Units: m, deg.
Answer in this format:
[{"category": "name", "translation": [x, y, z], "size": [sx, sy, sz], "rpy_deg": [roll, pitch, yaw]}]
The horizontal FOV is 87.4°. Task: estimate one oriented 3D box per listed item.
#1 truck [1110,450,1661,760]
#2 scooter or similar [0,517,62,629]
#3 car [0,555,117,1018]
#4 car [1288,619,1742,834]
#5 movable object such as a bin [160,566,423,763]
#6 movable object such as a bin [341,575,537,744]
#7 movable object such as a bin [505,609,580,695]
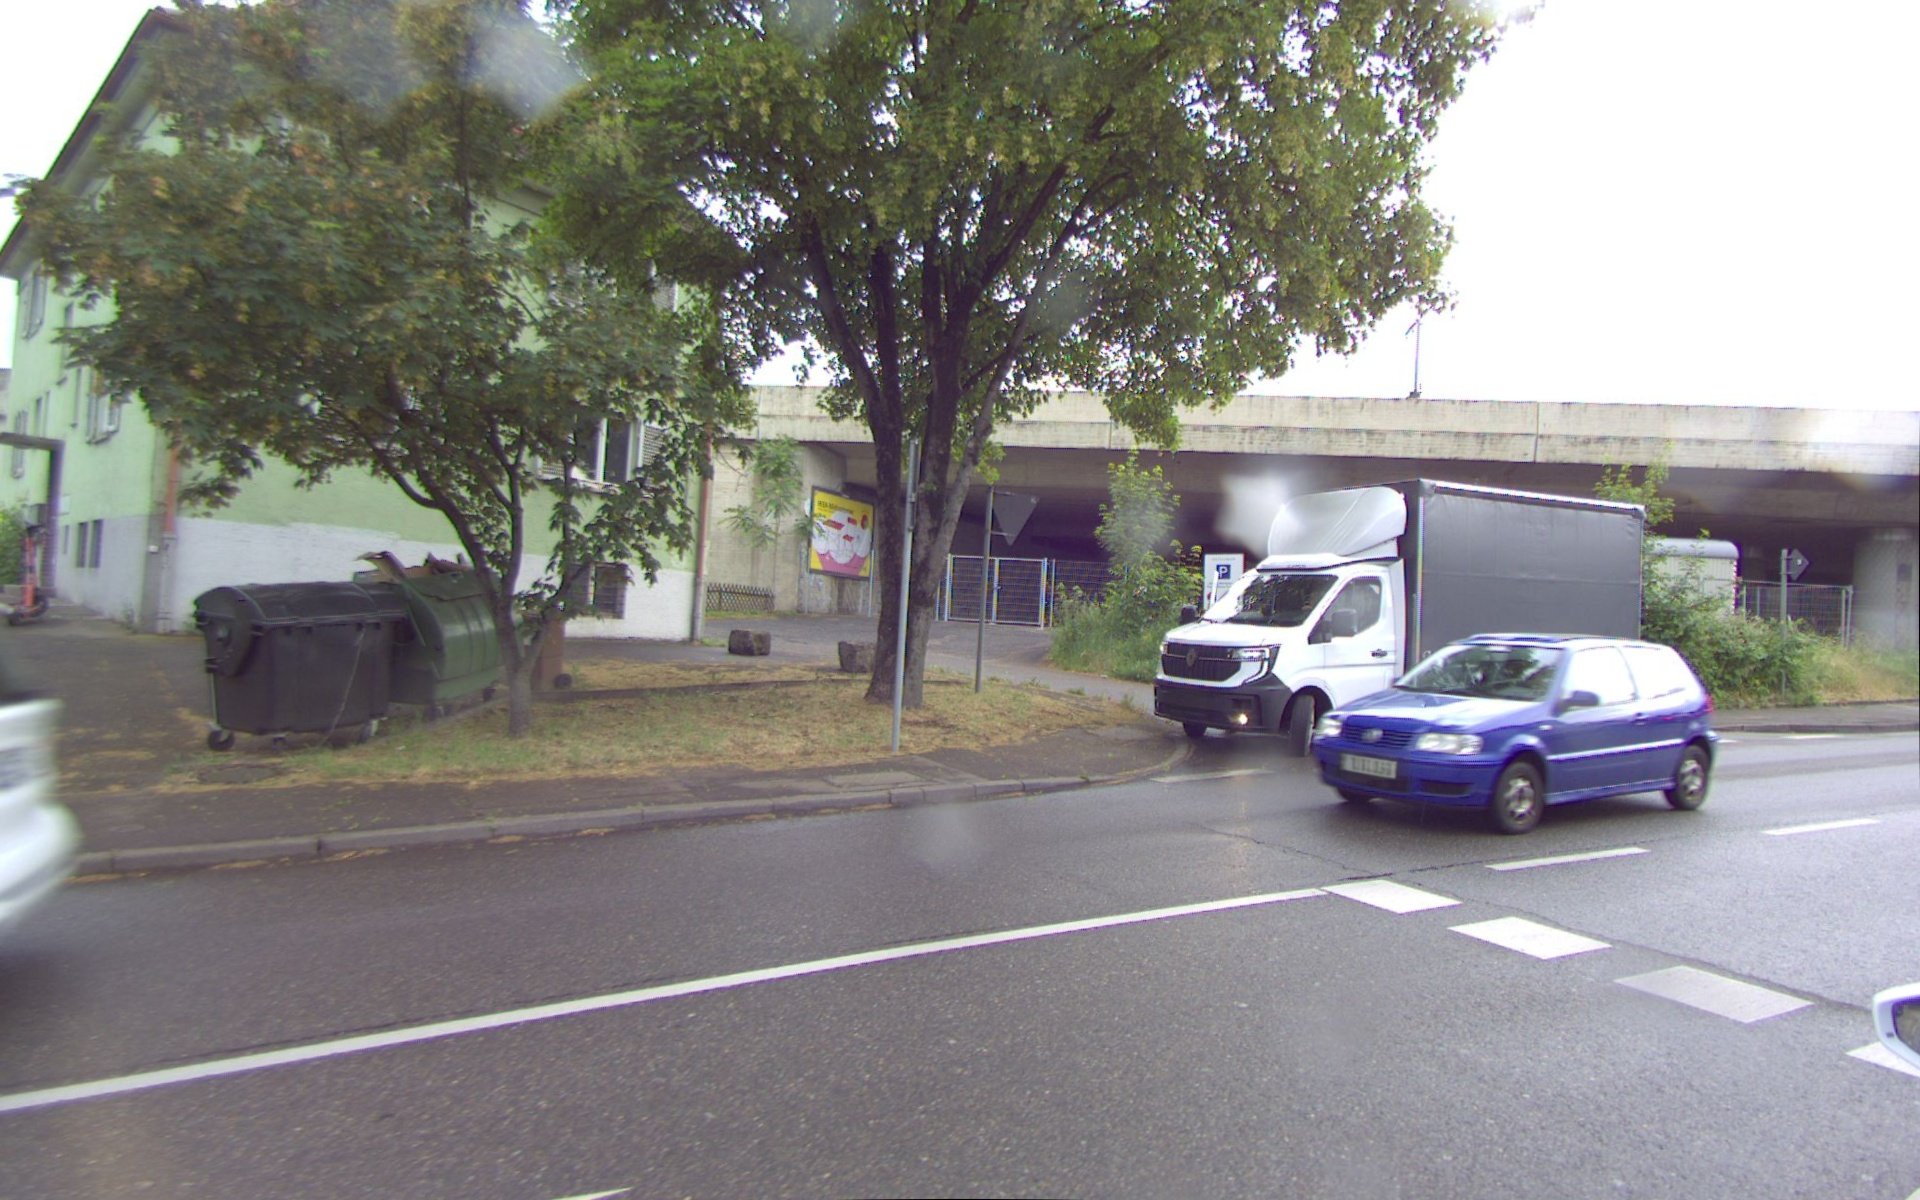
[{"category": "truck", "translation": [5.945, 0.192, 13.591], "size": [7.679, 3.279, 2.600], "rpy_deg": [2, -1, -28]}, {"category": "scooter or similar", "translation": [-11.668, -0.365, 12.475], "size": [0.525, 1.290, 1.510], "rpy_deg": [3, 3, -34]}, {"category": "car", "translation": [-5.516, 0.616, 3.021], "size": [4.283, 1.599, 1.822], "rpy_deg": [1, 0, -30]}, {"category": "car", "translation": [4.674, 0.915, 8.404], "size": [3.650, 1.444, 1.591], "rpy_deg": [1, -1, -28]}, {"category": "movable object such as a bin", "translation": [-5.861, 0.493, 8.922], "size": [1.268, 1.457, 1.463], "rpy_deg": [4, 5, 13]}, {"category": "movable object such as a bin", "translation": [-5.279, 0.543, 10.280], "size": [1.078, 1.457, 1.463], "rpy_deg": [4, 5, 13]}, {"category": "movable object such as a bin", "translation": [-4.887, 0.602, 11.758], "size": [0.715, 0.970, 0.554], "rpy_deg": [3, -1, -29]}]
